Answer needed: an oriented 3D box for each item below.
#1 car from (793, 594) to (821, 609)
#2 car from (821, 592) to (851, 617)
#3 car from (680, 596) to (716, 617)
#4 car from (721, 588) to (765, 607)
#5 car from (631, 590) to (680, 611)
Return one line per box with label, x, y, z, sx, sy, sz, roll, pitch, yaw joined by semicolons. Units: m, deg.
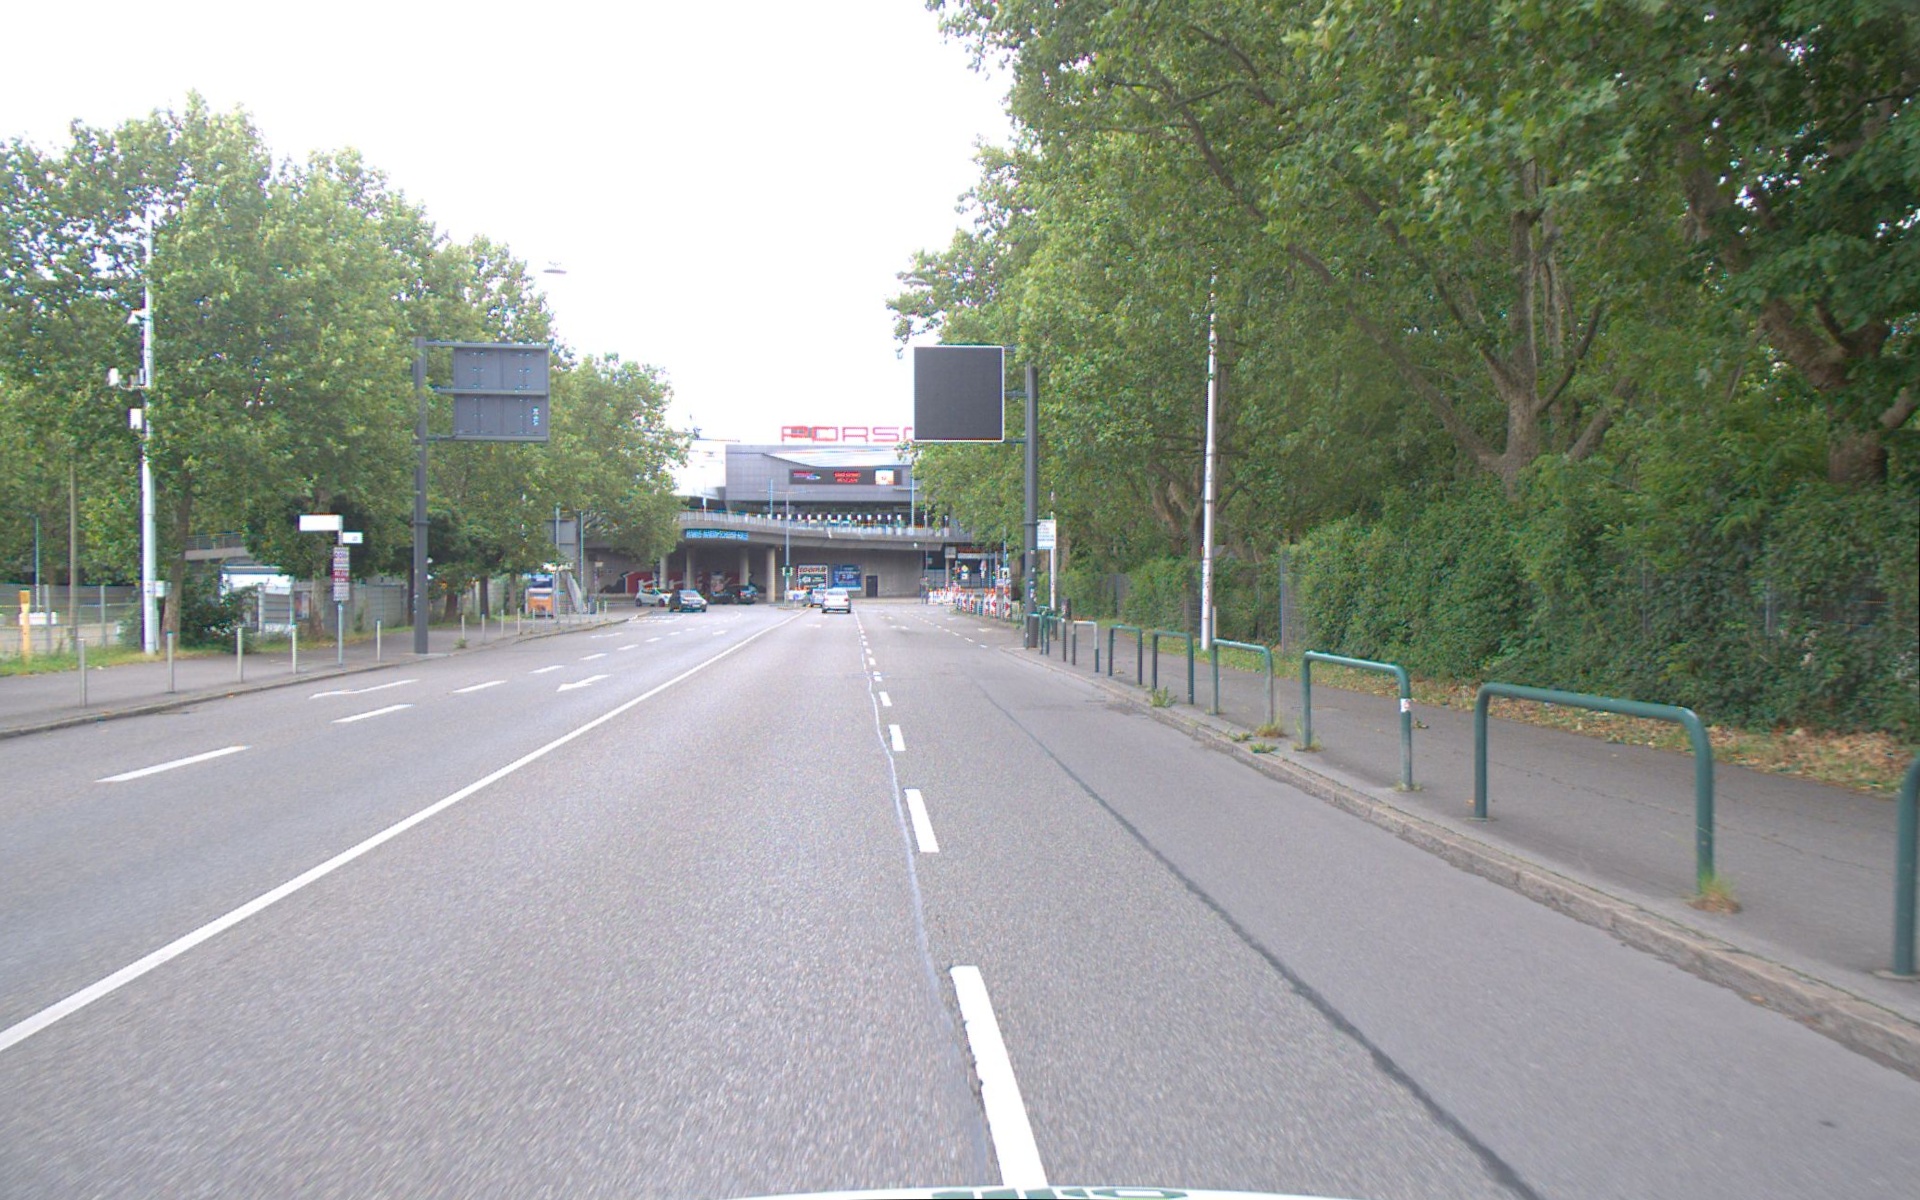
car;-11.905;0.096;128.446;1.391;1.132;3.018;2;0;-21
car;-7.815;0.287;104.528;1.743;1.486;3.820;2;0;-3
car;-17.525;0.439;110.732;1.633;1.295;3.561;2;0;-22
car;-18.320;-0.219;139.647;1.980;1.512;3.944;0;0;-39
car;-23.866;0.023;129.644;3.802;1.606;1.621;0;0;35
